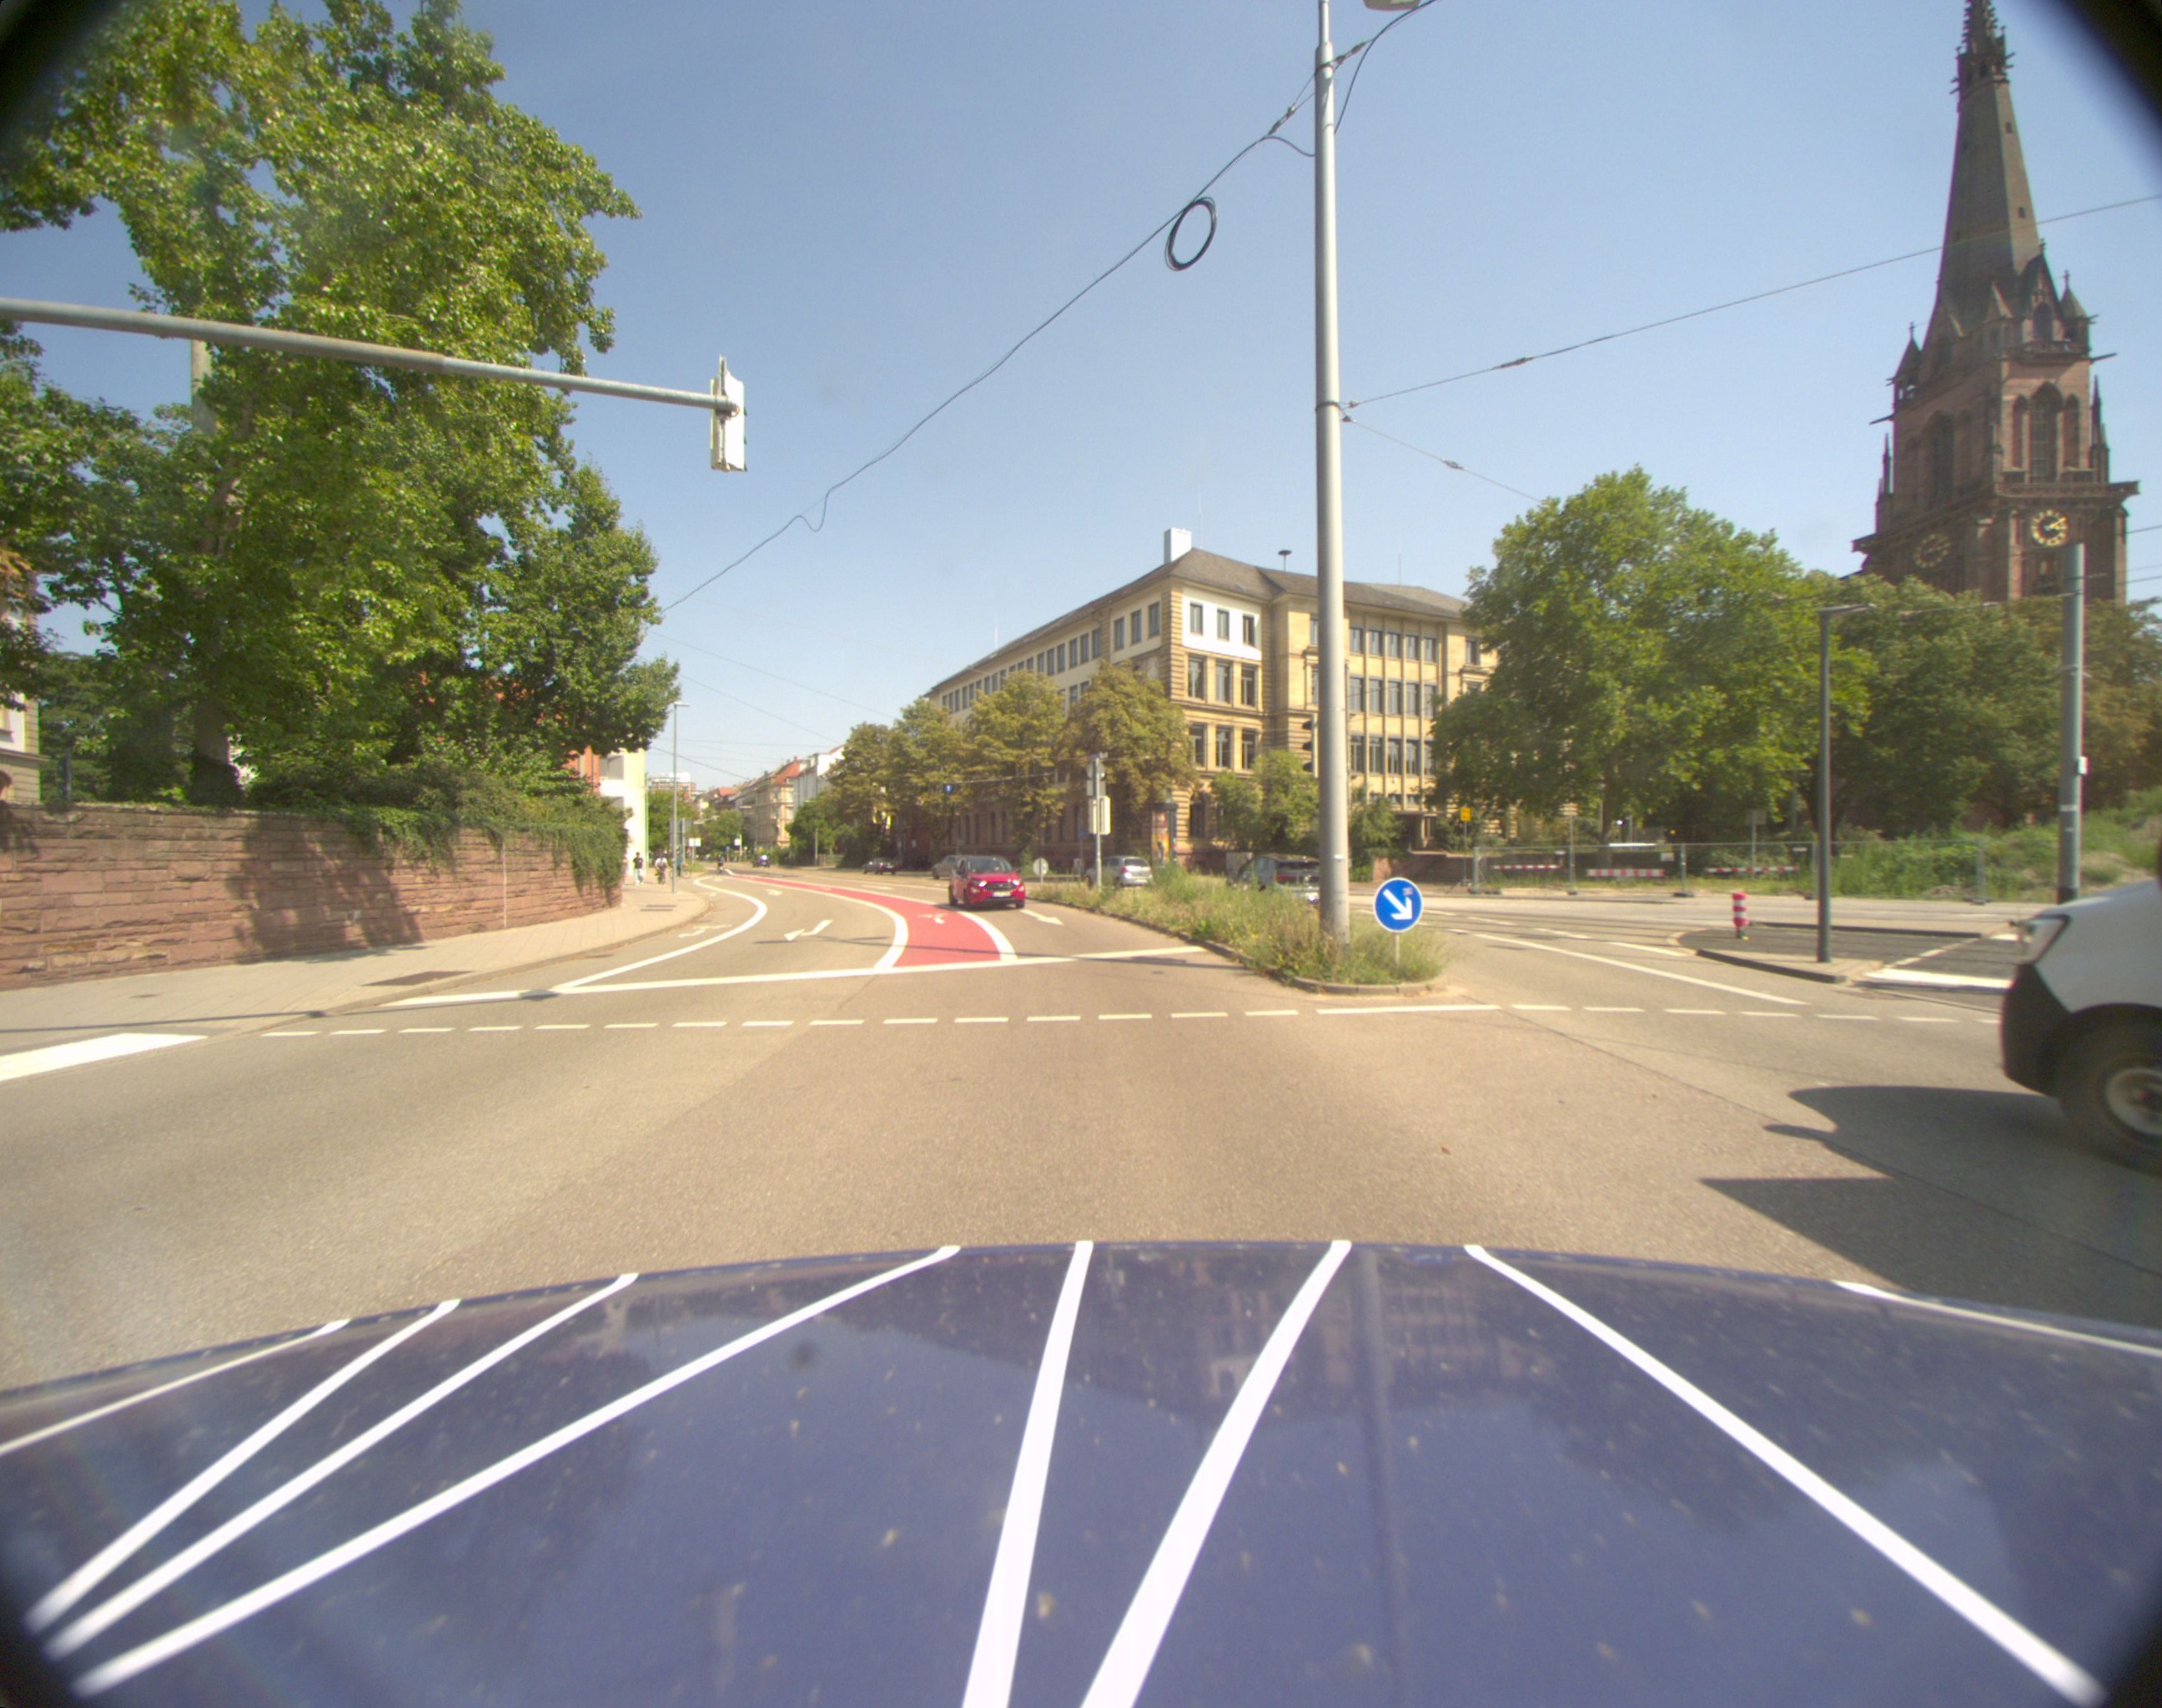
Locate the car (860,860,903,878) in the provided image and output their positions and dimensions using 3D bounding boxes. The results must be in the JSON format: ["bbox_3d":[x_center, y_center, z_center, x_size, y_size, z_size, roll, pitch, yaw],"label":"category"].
[{"bbox_3d":[-16.247,1.159,61.792,1.696,1.370,4.605,-1,0,-38],"label":"car"}]

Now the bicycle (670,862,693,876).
[{"bbox_3d":[-30.198,1.132,57.395,0.615,0.994,1.713,0,-1,10],"label":"bicycle"}]

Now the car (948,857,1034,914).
[{"bbox_3d":[-2.851,0.886,23.326,1.818,1.542,4.014,-1,0,-19],"label":"car"}]

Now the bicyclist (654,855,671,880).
[{"bbox_3d":[-24.300,0.768,44.104,0.748,1.403,0.959,-1,1,-33],"label":"bicyclist"}]

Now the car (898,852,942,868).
[{"bbox_3d":[-16.136,0.613,76.436,1.816,1.453,4.437,-1,1,30],"label":"car"}]

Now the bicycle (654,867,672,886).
[{"bbox_3d":[-24.327,1.309,44.172,0.743,1.043,2.227,-1,0,-33],"label":"bicycle"}]

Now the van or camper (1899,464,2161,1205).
[{"bbox_3d":[5.938,-0.083,0.843,2.406,3.287,7.190,0,0,1],"label":"van or camper"}]

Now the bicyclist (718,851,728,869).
[{"bbox_3d":[-30.524,0.512,64.855,0.629,1.589,0.991,0,1,-18],"label":"bicyclist"}]

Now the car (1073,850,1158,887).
[{"bbox_3d":[1.438,0.595,33.471,1.659,1.521,4.315,0,0,-31],"label":"car"}]

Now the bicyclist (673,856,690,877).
[{"bbox_3d":[-30.188,0.934,57.406,0.627,1.530,0.905,2,-1,10],"label":"bicyclist"}]

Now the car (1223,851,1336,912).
[{"bbox_3d":[5.380,0.673,21.178,1.701,1.521,4.180,0,0,-6],"label":"car"}]

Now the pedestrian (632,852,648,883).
[{"bbox_3d":[-24.485,0.747,42.178,0.731,1.656,0.877,-1,1,-31],"label":"pedestrian"}]

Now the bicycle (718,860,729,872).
[{"bbox_3d":[-30.552,1.040,64.913,0.616,0.994,1.709,0,-1,-17],"label":"bicycle"}]

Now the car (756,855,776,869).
[{"bbox_3d":[-41.474,1.041,99.967,1.699,1.645,3.572,-2,1,-33],"label":"car"}]

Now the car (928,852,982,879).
[{"bbox_3d":[-8.046,0.687,48.193,1.780,1.601,4.662,-1,0,-31],"label":"car"}]
